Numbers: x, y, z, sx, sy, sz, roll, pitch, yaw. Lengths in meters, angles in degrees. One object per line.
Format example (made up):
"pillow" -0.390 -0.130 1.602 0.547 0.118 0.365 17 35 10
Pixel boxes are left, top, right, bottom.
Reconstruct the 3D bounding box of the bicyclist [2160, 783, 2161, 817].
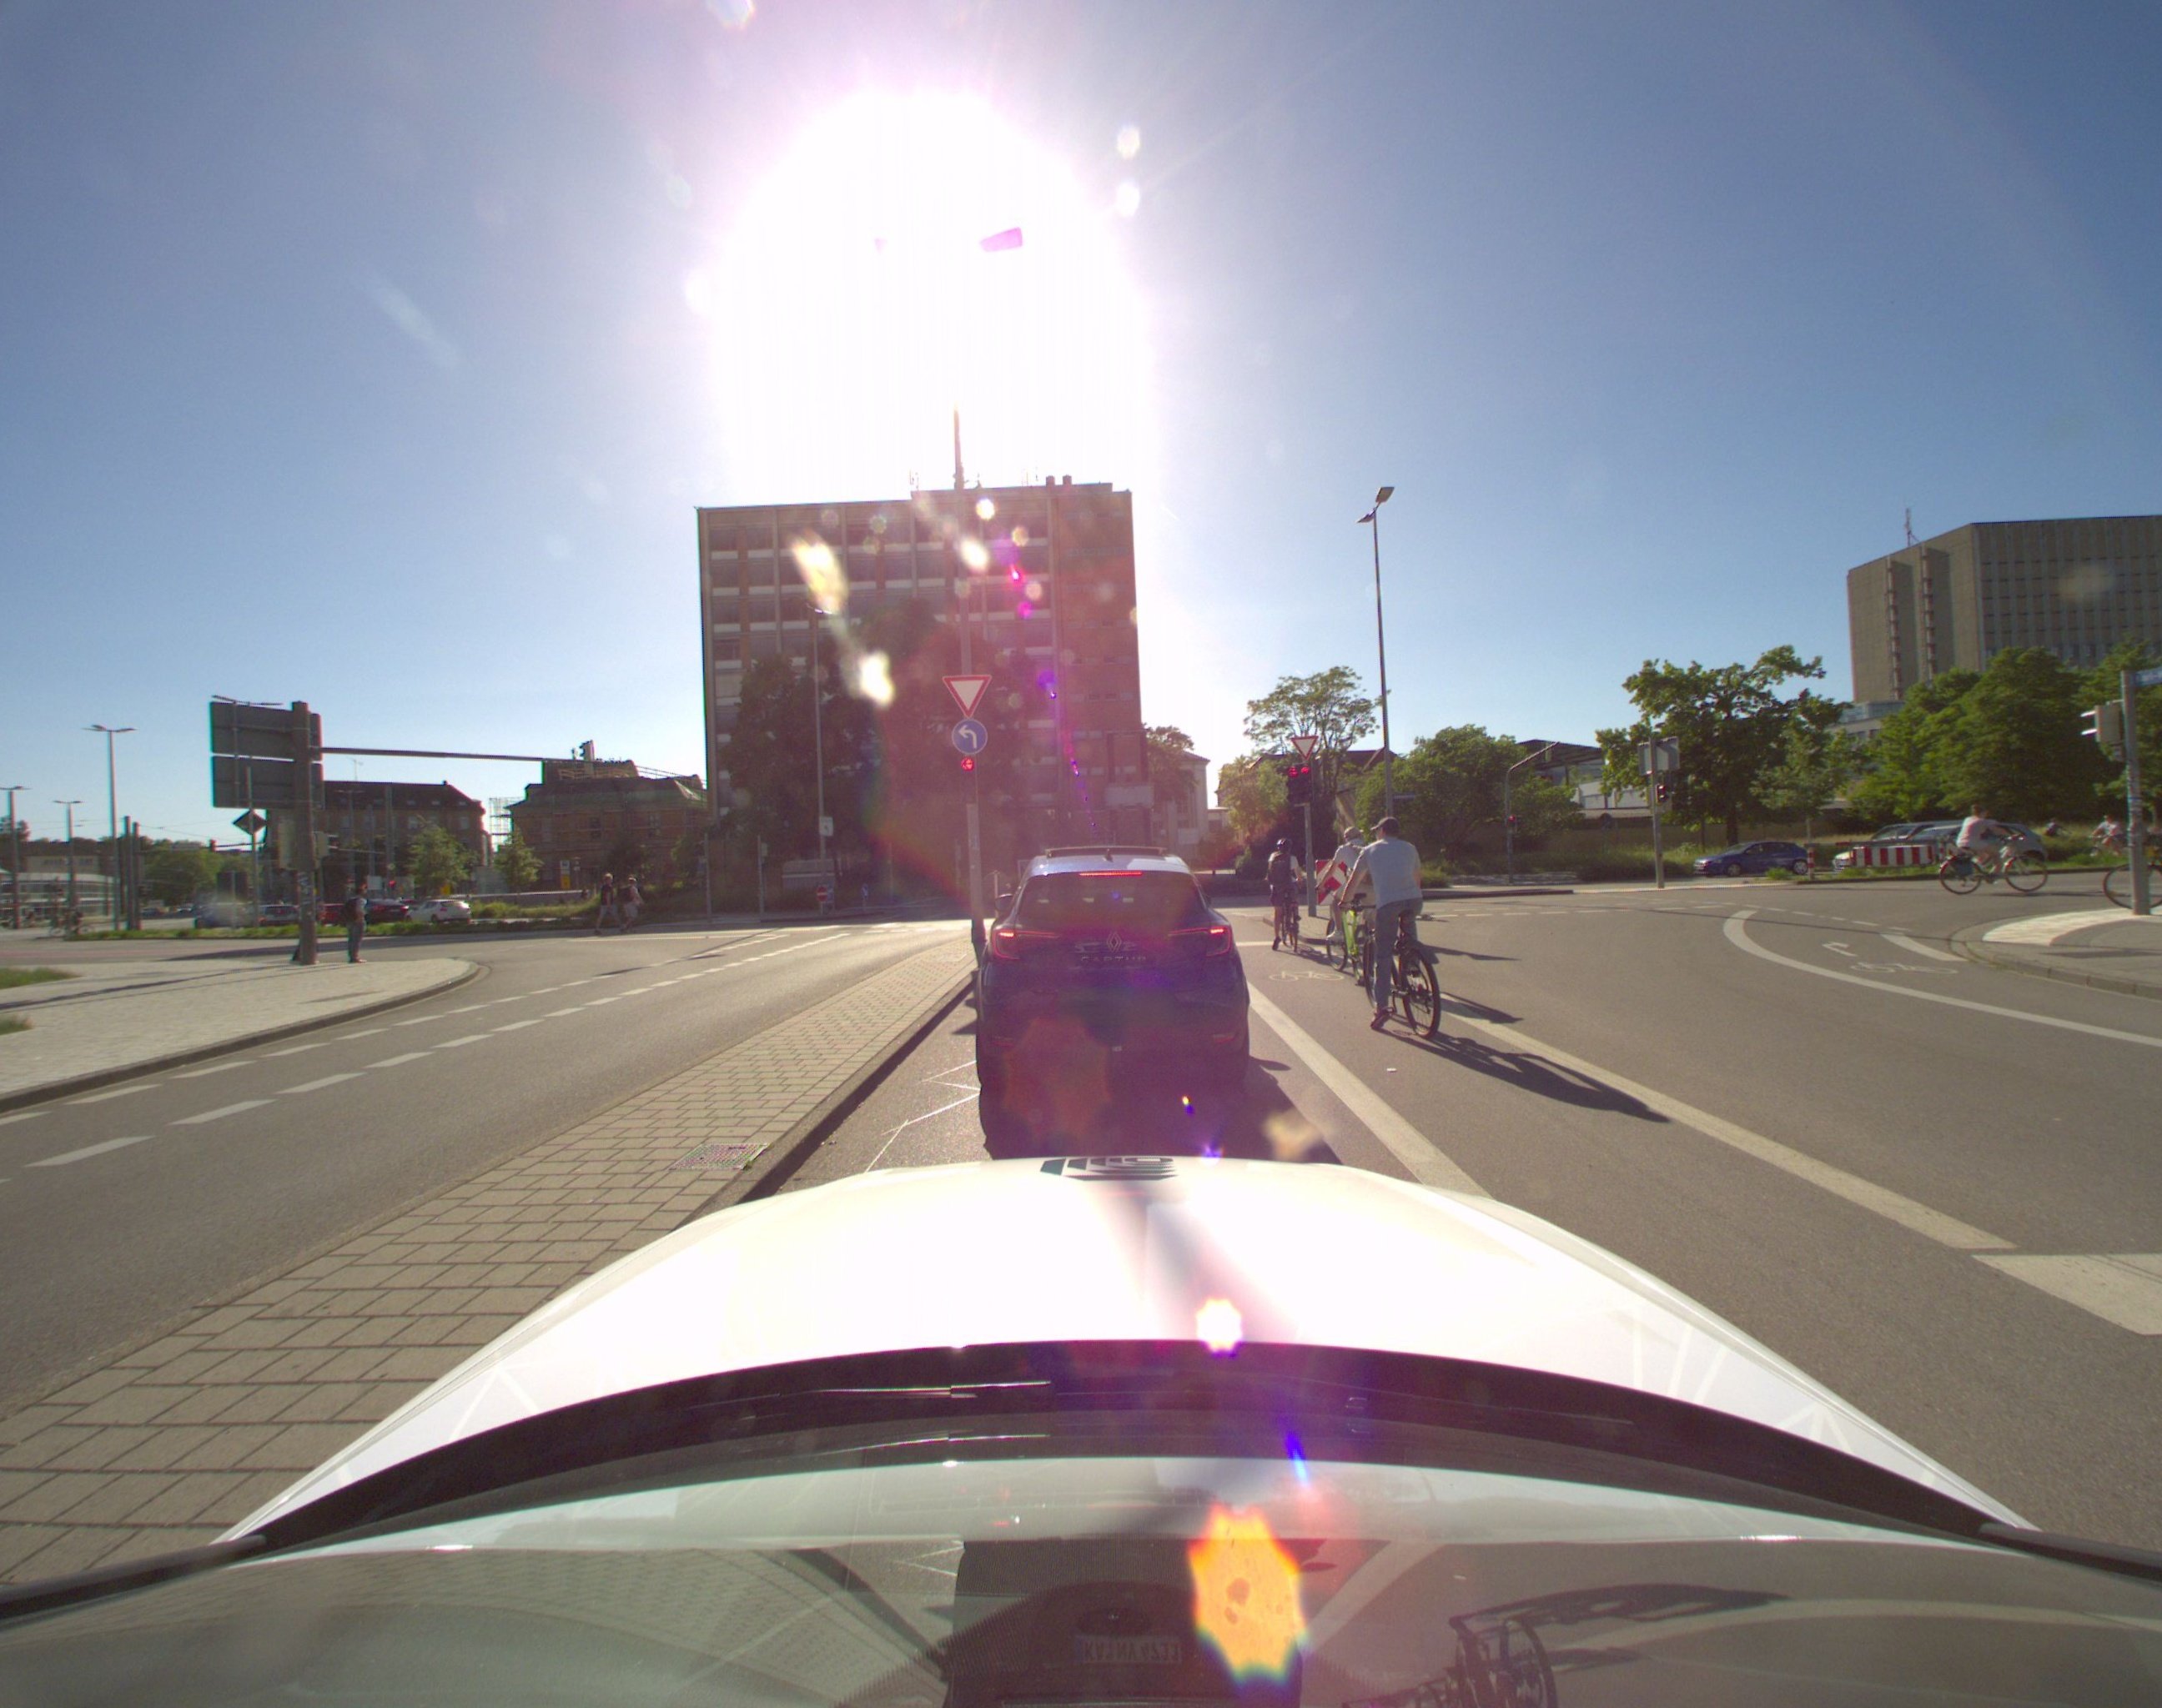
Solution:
"bicyclist" 16.026 -0.228 11.475 0.635 1.646 0.903 -2 -1 -39

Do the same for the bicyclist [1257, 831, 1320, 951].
"bicyclist" 3.244 0.556 12.806 0.697 1.791 1.142 -1 -1 2

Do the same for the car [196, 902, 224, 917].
"car" -132.744 8.467 124.147 1.797 2.013 3.963 -2 -1 -29

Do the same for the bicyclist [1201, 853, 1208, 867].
"bicyclist" 14.016 0.687 92.481 0.689 1.481 0.720 -3 -1 16

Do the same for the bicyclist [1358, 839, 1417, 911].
"bicyclist" 6.830 0.458 18.168 1.045 1.513 0.643 -4 -1 9

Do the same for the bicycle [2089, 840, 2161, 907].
"bicycle" 15.914 0.266 11.629 0.640 0.958 1.866 -2 -1 -39

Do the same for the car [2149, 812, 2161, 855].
"car" 36.901 -0.764 25.333 4.534 1.398 1.798 -3 -1 7

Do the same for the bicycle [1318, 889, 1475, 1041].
"bicycle" 2.718 0.896 7.259 0.687 1.089 1.923 -1 0 2

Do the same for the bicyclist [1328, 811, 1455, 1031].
"bicyclist" 2.718 0.550 7.243 0.680 1.791 1.142 -1 -1 2

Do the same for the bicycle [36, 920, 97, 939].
"bicycle" -65.700 4.878 52.762 0.800 1.062 2.434 -1 -1 37

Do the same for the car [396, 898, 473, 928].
"car" -36.395 3.332 45.839 3.834 1.508 1.805 -3 -1 25

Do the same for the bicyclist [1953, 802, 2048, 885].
"bicyclist" 17.863 -0.204 15.837 1.062 1.528 0.518 -4 -1 9

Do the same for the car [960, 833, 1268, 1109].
"car" 0.197 0.702 6.769 1.783 1.585 3.913 -1 0 0

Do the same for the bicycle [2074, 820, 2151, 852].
"bicycle" 35.465 -0.611 28.024 1.673 1.033 0.612 -2 -1 7

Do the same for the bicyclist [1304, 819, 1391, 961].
"bicyclist" 3.188 0.413 9.835 0.676 1.594 1.142 -1 -1 2

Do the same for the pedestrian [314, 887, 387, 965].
"pedestrian" -17.235 1.673 19.230 0.647 1.730 1.066 -3 -1 15

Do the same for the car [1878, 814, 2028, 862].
"car" 35.870 -0.619 33.609 3.965 1.749 1.798 -2 -1 7

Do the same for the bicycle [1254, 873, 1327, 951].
"bicycle" 3.260 0.873 12.849 0.687 1.089 1.923 -1 0 2

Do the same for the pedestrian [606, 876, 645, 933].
"pedestrian" -14.149 1.559 25.312 0.675 1.730 0.764 -3 -1 15

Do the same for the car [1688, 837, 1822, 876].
"car" 28.134 0.104 34.109 3.965 1.398 1.798 -2 -1 7

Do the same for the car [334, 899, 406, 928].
"car" -42.535 3.558 48.736 3.834 1.508 1.805 -3 -1 25

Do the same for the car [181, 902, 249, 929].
"car" -54.914 3.887 51.640 3.834 1.508 1.805 -3 -1 25

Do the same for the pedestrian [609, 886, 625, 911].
"pedestrian" -33.178 3.177 58.242 0.680 1.730 0.759 -2 -1 -7

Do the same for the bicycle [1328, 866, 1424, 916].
"bicycle" 6.565 0.819 18.205 1.887 0.973 0.651 -4 -1 9

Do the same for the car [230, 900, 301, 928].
"car" -48.864 3.599 48.808 3.834 1.508 1.805 -3 -1 25

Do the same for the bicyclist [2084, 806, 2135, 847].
"bicyclist" 35.393 -0.931 28.033 0.870 1.343 0.612 -2 -1 7

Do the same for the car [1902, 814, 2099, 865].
"car" 29.220 -0.435 26.004 3.965 1.398 1.798 -2 -1 7

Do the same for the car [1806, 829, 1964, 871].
"car" 30.296 -0.137 30.795 3.965 1.398 1.798 -2 -1 7

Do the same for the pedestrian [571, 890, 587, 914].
"pedestrian" -38.000 3.633 61.680 0.678 1.730 0.761 -2 -1 -1

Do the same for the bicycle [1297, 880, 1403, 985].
"bicycle" 3.198 0.887 9.872 0.687 1.089 1.923 -1 0 2

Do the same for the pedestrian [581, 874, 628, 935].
"pedestrian" -15.056 1.578 25.740 0.807 1.862 0.913 -3 -1 15

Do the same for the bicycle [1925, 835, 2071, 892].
"bicycle" 17.799 0.185 15.840 1.956 0.988 0.523 -4 -1 9

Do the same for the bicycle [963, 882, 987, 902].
"bicycle" -5.728 2.041 44.174 0.751 0.985 2.098 -2 0 8

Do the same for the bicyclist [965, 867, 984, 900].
"bicyclist" -5.761 1.606 44.073 0.751 1.716 1.001 -2 -1 7

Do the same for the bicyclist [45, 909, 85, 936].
"bicyclist" -65.748 4.434 52.707 0.800 1.634 1.586 -1 -1 37

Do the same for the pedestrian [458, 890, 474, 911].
"pedestrian" -50.819 3.840 67.277 0.755 1.730 0.683 -2 -1 2

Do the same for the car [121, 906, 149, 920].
"car" -152.877 9.583 131.657 2.008 2.014 3.956 0 -1 -35

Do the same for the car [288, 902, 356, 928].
"car" -48.207 3.865 51.712 3.834 1.508 1.805 -3 -1 25

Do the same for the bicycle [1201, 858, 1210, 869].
"bicycle" 14.247 1.087 93.304 0.689 1.140 2.451 -3 0 16
